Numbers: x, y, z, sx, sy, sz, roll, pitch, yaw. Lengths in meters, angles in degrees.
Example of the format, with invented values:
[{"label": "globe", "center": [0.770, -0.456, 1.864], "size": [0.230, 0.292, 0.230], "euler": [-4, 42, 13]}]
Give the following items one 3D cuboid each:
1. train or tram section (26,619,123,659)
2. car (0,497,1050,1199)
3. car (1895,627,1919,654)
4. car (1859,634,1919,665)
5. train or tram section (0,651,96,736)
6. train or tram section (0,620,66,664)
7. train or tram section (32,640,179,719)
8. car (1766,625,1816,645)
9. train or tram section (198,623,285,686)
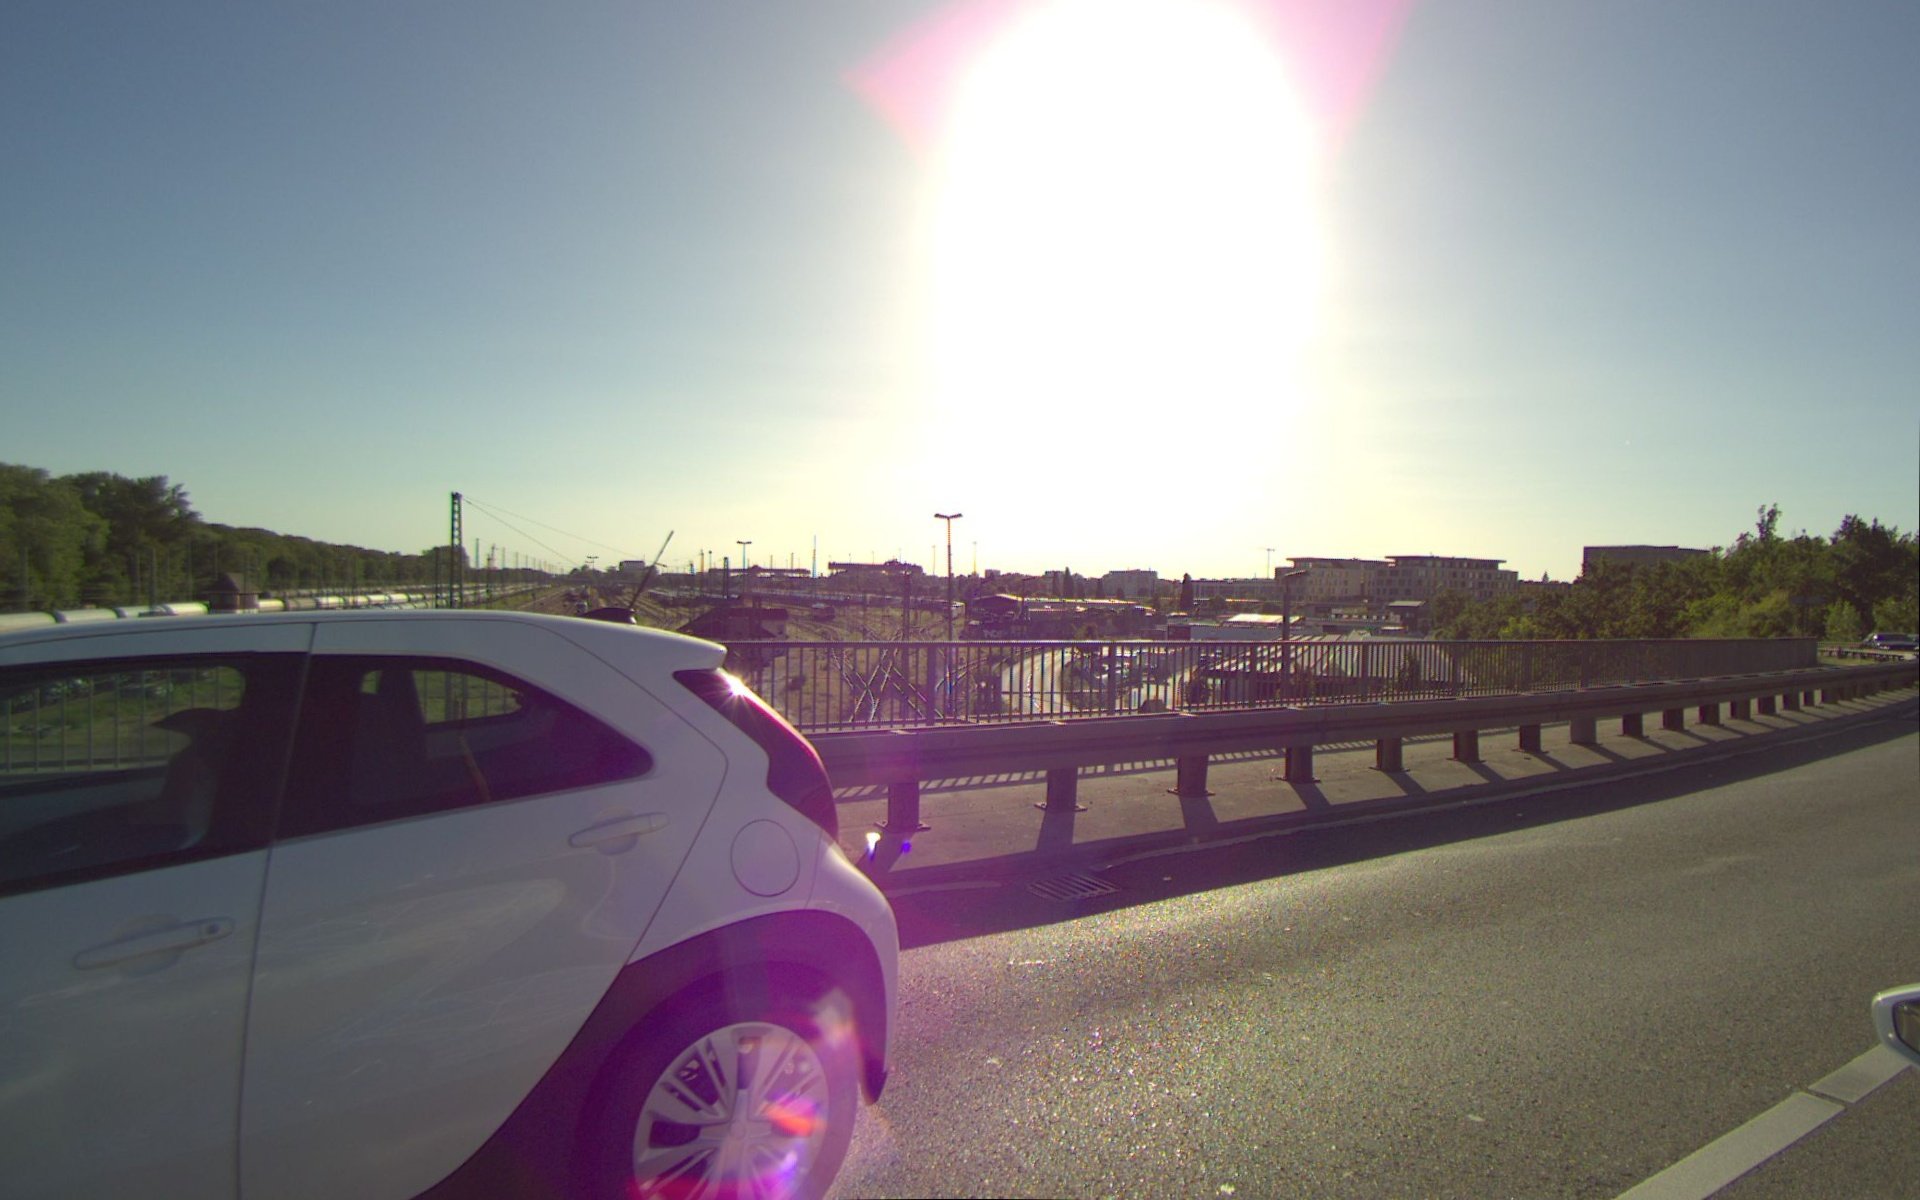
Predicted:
[{"label": "train or tram section", "center": [-122.593, 5.295, 139.589], "size": [3.989, 5.153, 17.782], "euler": [1, -1, -21]}, {"label": "car", "center": [-1.815, 0.623, 2.464], "size": [3.727, 1.539, 1.827], "euler": [1, -1, -32]}, {"label": "car", "center": [60.531, 2.540, 63.424], "size": [1.836, 1.606, 3.898], "euler": [0, -1, 38]}, {"label": "car", "center": [52.325, 2.753, 56.644], "size": [1.873, 1.664, 4.450], "euler": [0, -1, 34]}, {"label": "train or tram section", "center": [-65.734, 6.329, 69.175], "size": [3.847, 5.083, 16.293], "euler": [1, -1, -20]}, {"label": "train or tram section", "center": [-116.152, 5.004, 122.884], "size": [3.989, 5.153, 17.782], "euler": [1, -1, -21]}, {"label": "train or tram section", "center": [-71.295, 6.359, 84.551], "size": [3.847, 5.592, 16.430], "euler": [1, -1, -20]}, {"label": "car", "center": [69.521, 2.895, 84.122], "size": [1.804, 1.576, 3.895], "euler": [0, -1, 16]}, {"label": "train or tram section", "center": [-82.676, 6.001, 116.099], "size": [3.847, 6.698, 16.430], "euler": [1, -1, -20]}]
